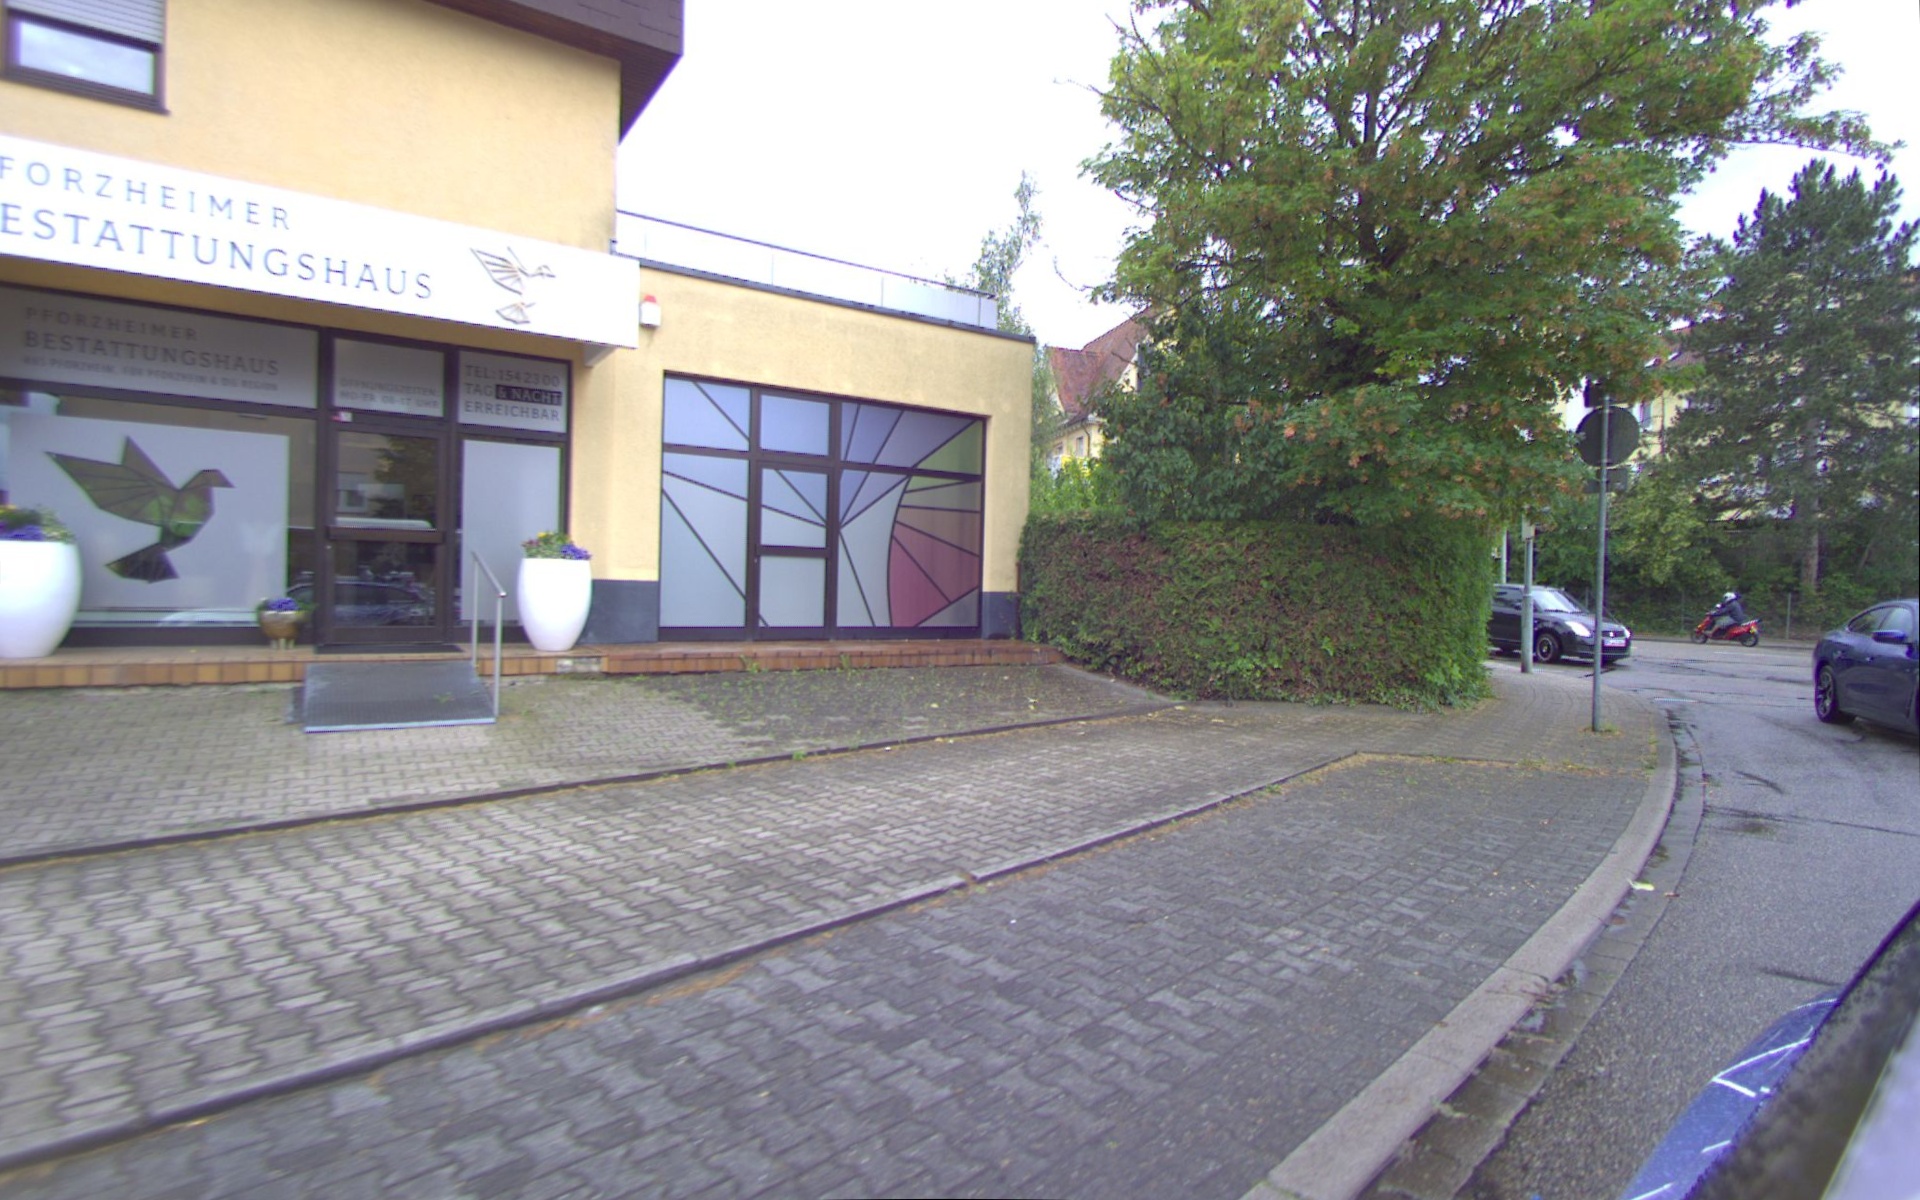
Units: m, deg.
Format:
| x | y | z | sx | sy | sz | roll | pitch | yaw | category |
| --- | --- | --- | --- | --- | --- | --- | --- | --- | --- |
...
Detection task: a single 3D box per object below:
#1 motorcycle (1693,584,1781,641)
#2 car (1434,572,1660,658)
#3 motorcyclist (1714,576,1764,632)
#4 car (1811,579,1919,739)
| x | y | z | sx | sy | sz | roll | pitch | yaw | category |
| --- | --- | --- | --- | --- | --- | --- | --- | --- | --- |
| 23.390 | 0.348 | 30.490 | 0.782 | 1.644 | 1.923 | 0 | 2 | -32 | motorcycle |
| 11.883 | 0.258 | 20.824 | 1.711 | 1.538 | 4.008 | -2 | 1 | -12 | car |
| 23.419 | 0.104 | 30.434 | 0.757 | 1.644 | 0.940 | 1 | 1 | -32 | motorcyclist |
| 10.360 | 0.560 | 9.970 | 1.894 | 1.514 | 4.313 | 0 | 1 | 24 | car |
